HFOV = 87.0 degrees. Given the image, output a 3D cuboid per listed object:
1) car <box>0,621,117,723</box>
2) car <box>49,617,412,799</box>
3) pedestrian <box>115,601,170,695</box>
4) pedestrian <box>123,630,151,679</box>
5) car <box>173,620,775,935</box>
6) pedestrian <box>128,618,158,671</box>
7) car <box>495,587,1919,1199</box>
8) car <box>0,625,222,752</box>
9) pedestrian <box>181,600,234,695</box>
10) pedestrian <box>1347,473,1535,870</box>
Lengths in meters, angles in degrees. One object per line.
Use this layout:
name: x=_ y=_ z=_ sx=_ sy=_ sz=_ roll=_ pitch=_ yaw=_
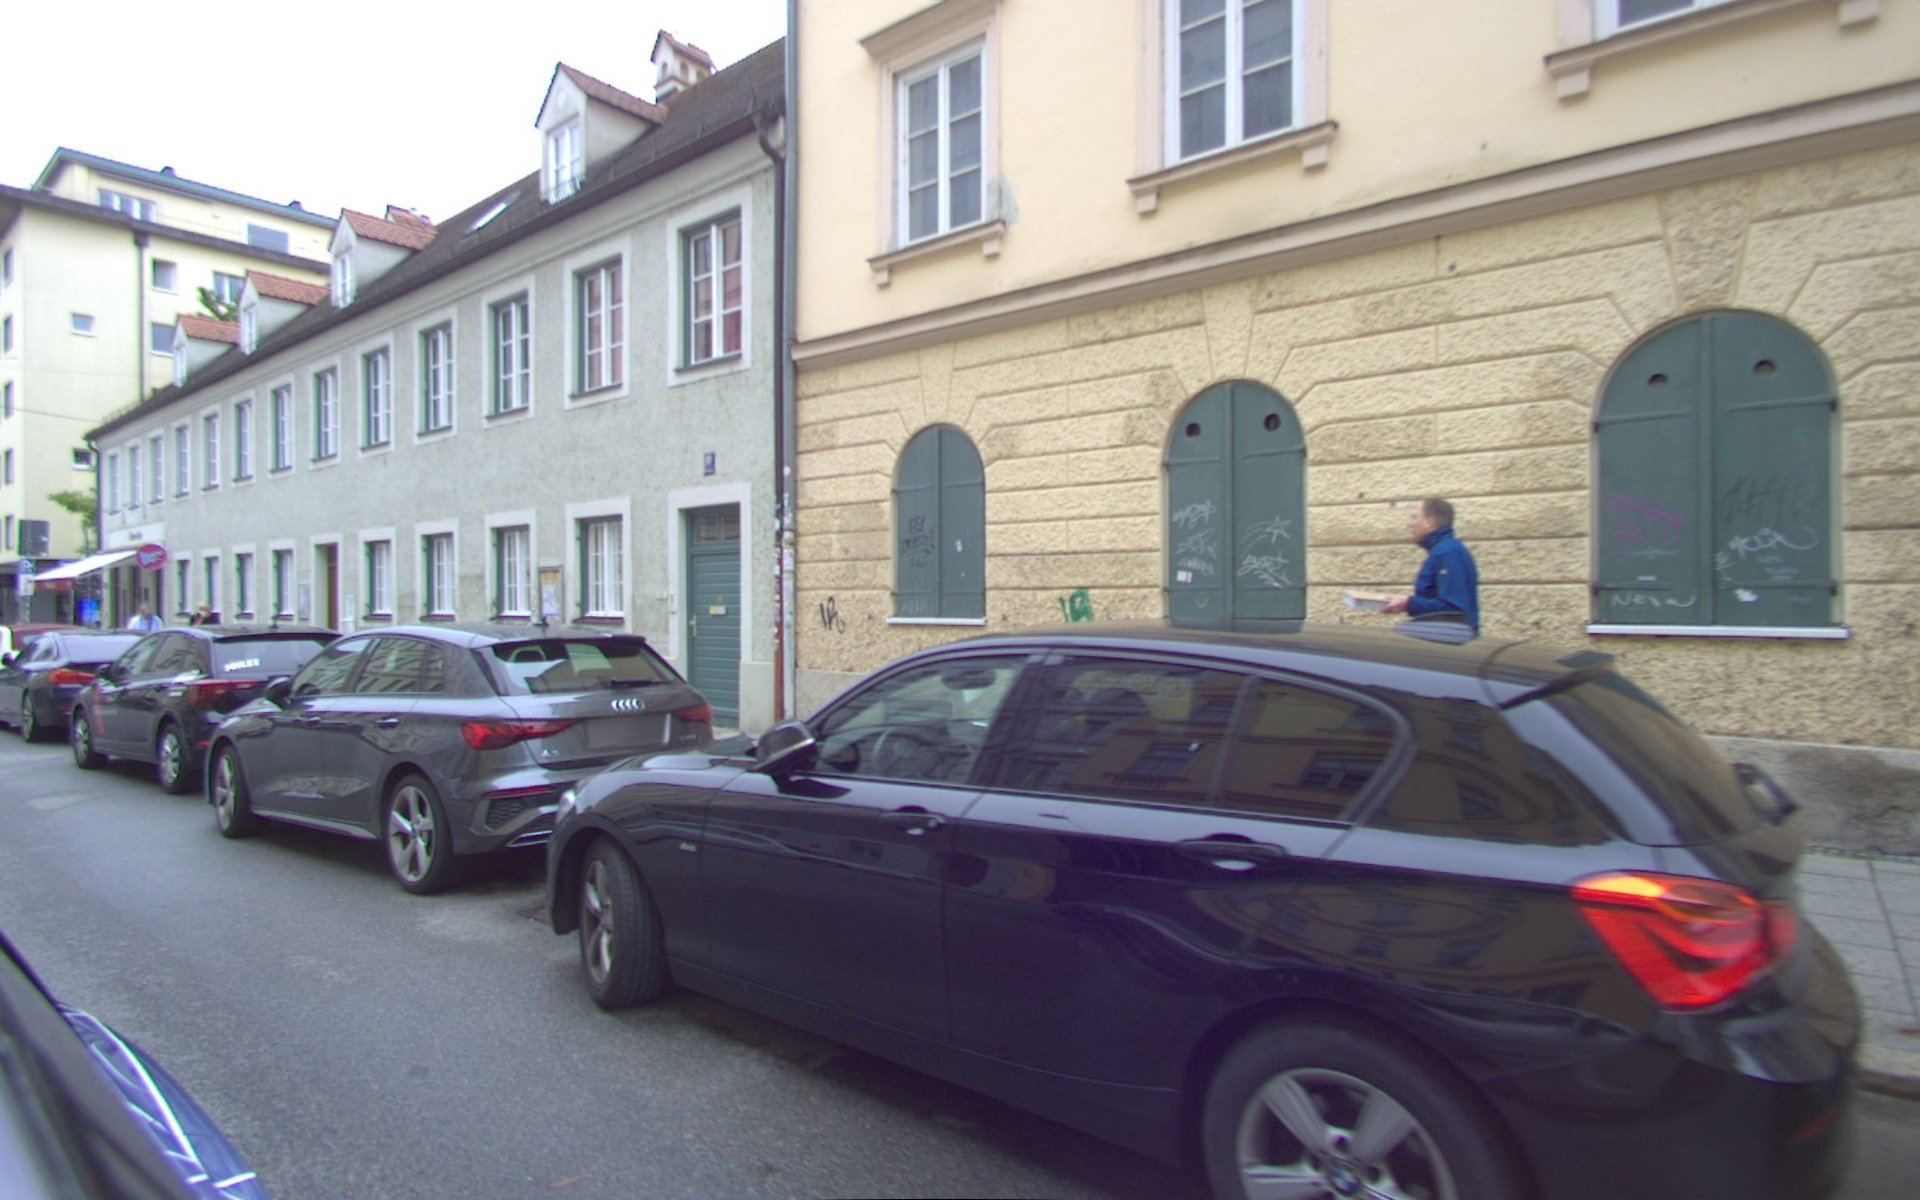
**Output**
car: x=-15.688 y=1.147 z=17.029 sx=3.417 sy=1.526 sz=1.555 roll=-1 pitch=0 yaw=37
car: x=-7.412 y=0.911 z=10.134 sx=4.263 sy=1.412 sz=1.840 roll=-1 pitch=0 yaw=38
pedestrian: x=-14.420 y=0.838 z=17.843 sx=0.661 sy=1.610 sz=0.607 roll=-1 pitch=-1 yaw=36
pedestrian: x=-21.160 y=1.392 z=26.029 sx=0.501 sy=1.222 sz=0.596 roll=-2 pitch=-2 yaw=-36
car: x=-3.395 y=0.881 z=6.739 sx=4.261 sy=1.412 sz=1.841 roll=-1 pitch=0 yaw=37
pedestrian: x=-20.463 y=1.113 z=25.353 sx=0.515 sy=1.276 sz=0.548 roll=-2 pitch=-2 yaw=-36
car: x=0.425 y=0.720 z=3.383 sx=4.263 sy=1.412 sz=1.840 roll=-1 pitch=0 yaw=38
car: x=-11.773 y=1.073 z=13.709 sx=4.264 sy=1.412 sz=1.839 roll=-1 pitch=0 yaw=39
pedestrian: x=-13.863 y=0.862 z=18.636 sx=0.805 sy=1.711 sz=0.575 roll=-1 pitch=-1 yaw=36
pedestrian: x=2.730 y=0.370 z=5.734 sx=0.749 sy=2.029 sz=0.797 roll=-2 pitch=-1 yaw=40
